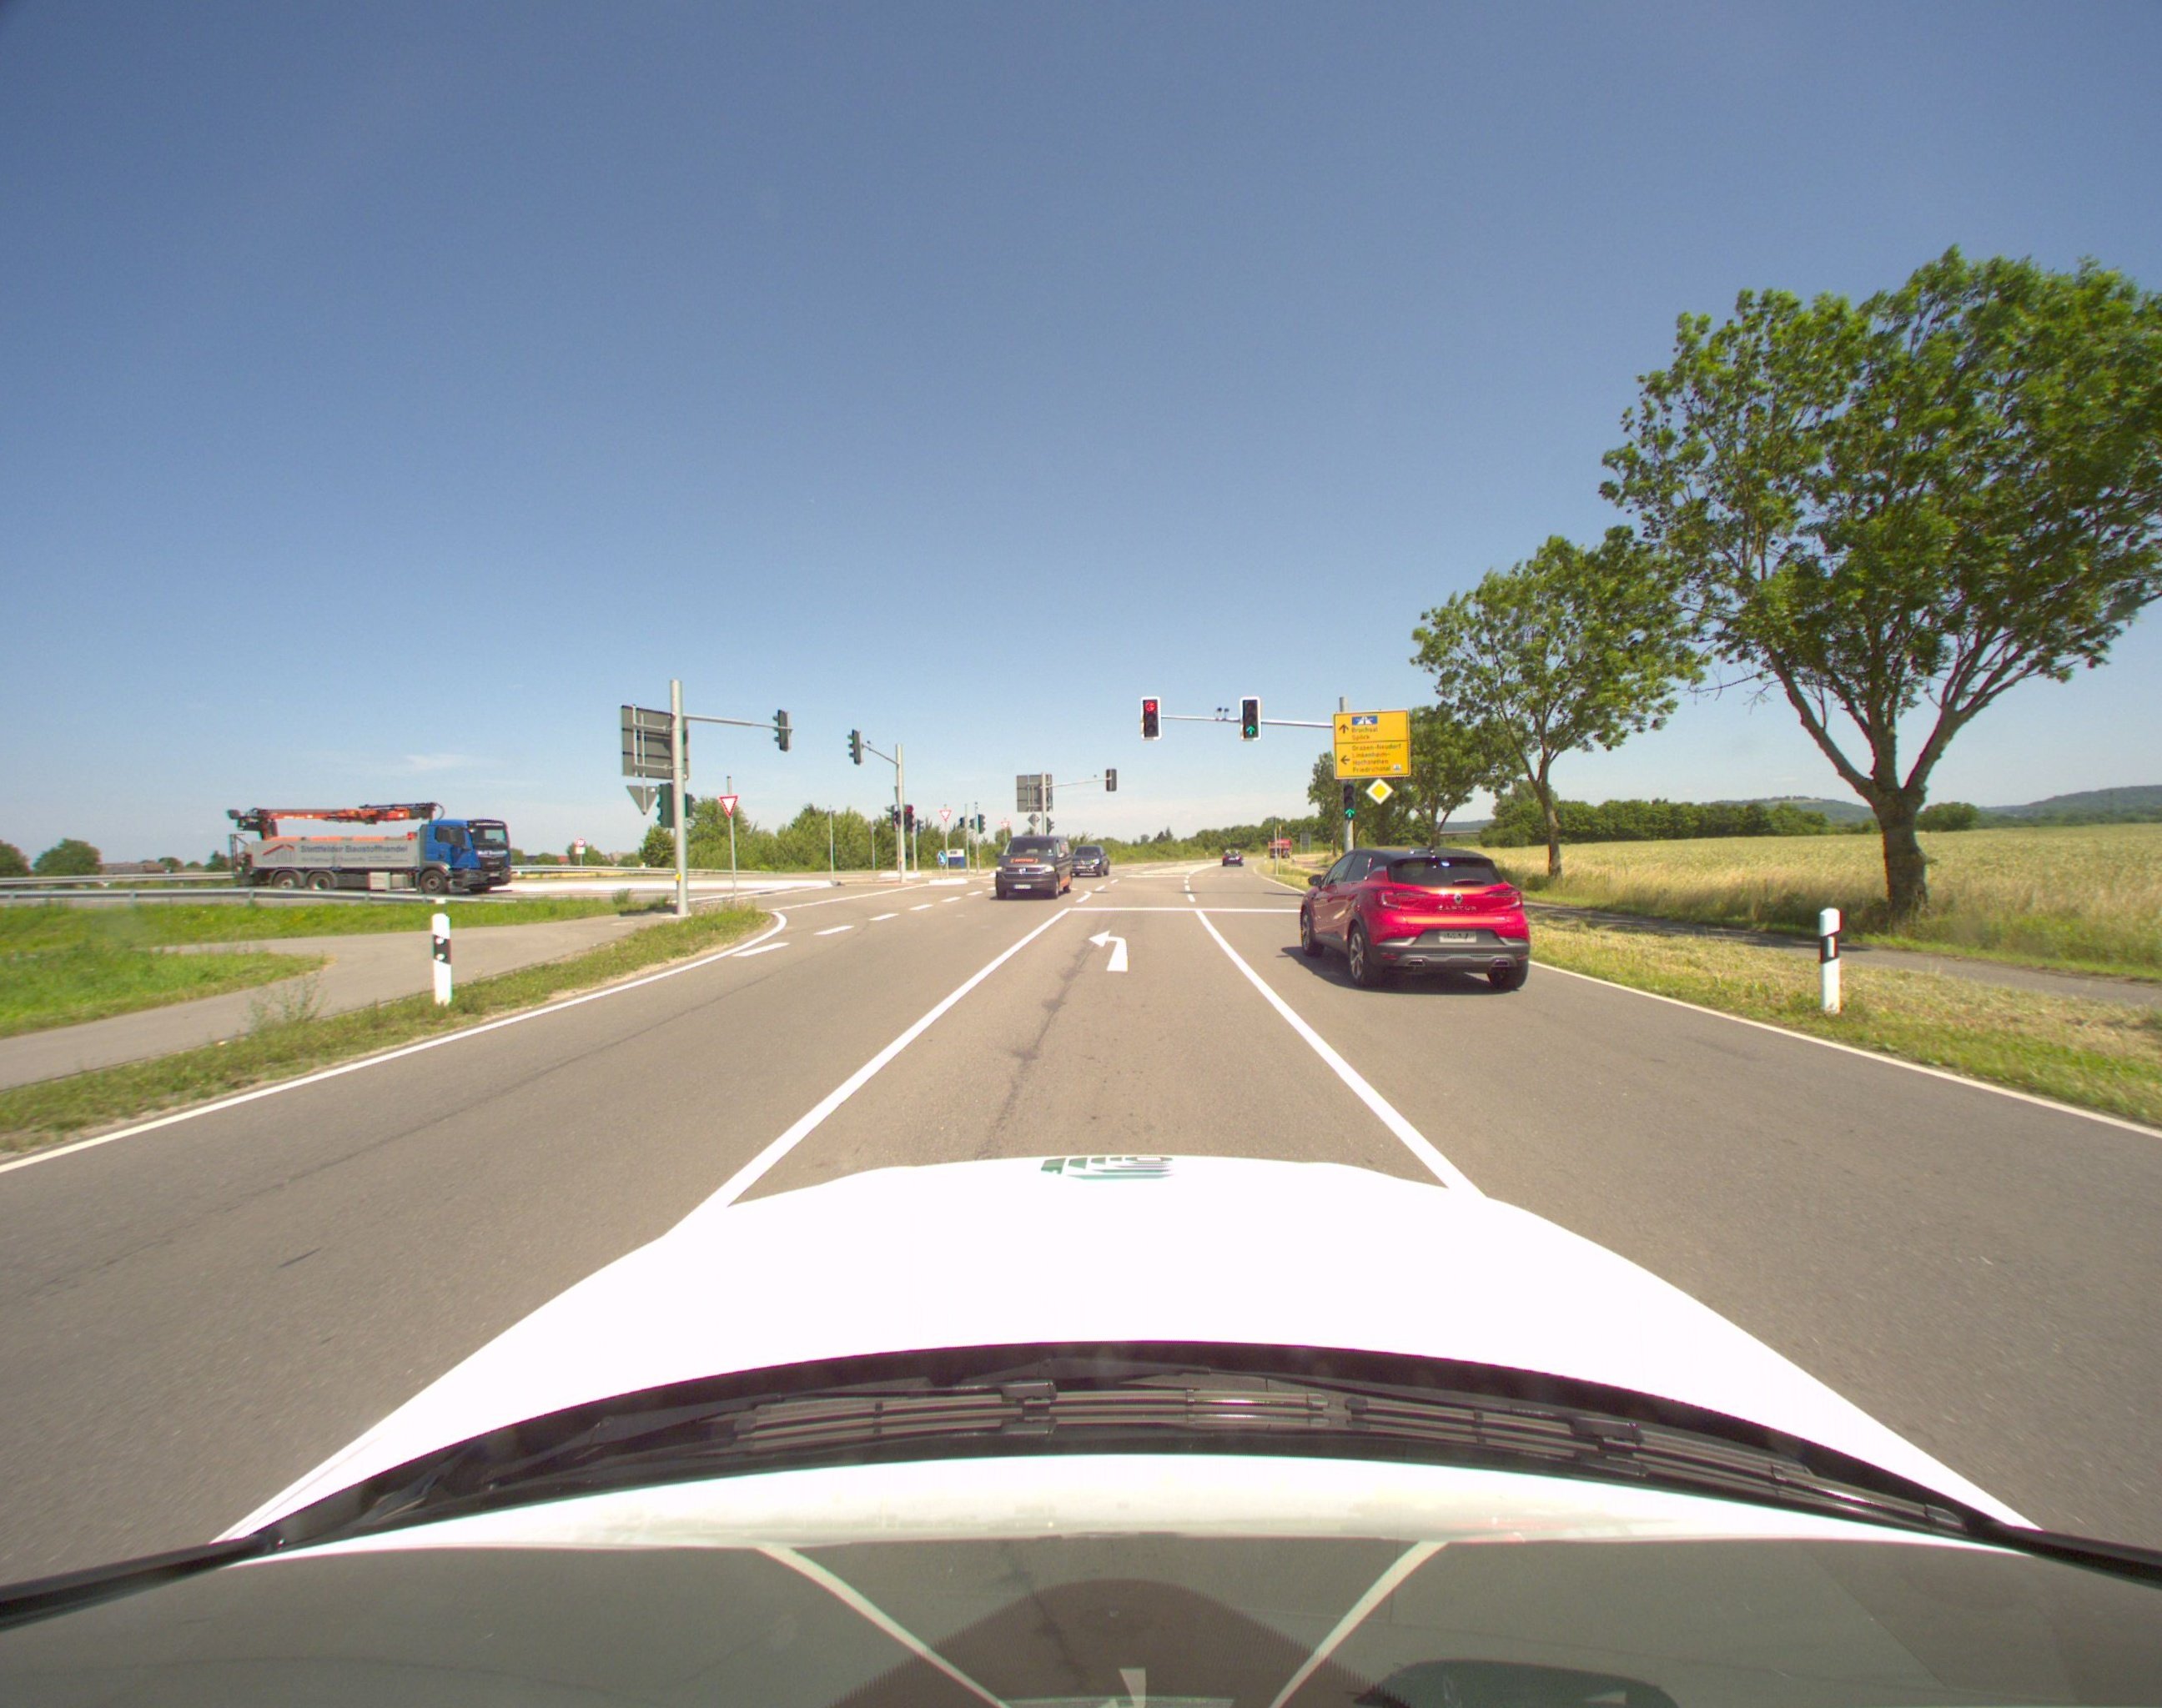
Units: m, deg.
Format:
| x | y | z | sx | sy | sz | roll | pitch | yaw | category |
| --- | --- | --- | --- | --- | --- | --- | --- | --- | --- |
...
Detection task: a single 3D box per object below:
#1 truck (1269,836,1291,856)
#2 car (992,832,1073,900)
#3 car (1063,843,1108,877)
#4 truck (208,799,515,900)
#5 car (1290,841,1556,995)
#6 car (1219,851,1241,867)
| x | y | z | sx | sy | sz | roll | pitch | yaw | category |
| --- | --- | --- | --- | --- | --- | --- | --- | --- | --- |
| 32.111 | -1.235 | 131.409 | 2.692 | 3.053 | 8.203 | -1 | -1 | 19 | truck |
| -1.456 | 0.329 | 26.350 | 1.921 | 1.978 | 4.691 | -1 | 0 | 5 | car |
| 0.330 | 0.285 | 43.483 | 1.921 | 1.739 | 4.897 | -1 | 0 | 6 | car |
| -28.705 | -0.168 | 32.753 | 10.044 | 3.793 | 2.627 | -1 | 0 | 1 | truck |
| 4.036 | 0.658 | 10.490 | 1.814 | 1.552 | 4.454 | 0 | 0 | 4 | car |
| 13.425 | 0.436 | 73.266 | 1.735 | 1.376 | 3.692 | 0 | -1 | 14 | car |
